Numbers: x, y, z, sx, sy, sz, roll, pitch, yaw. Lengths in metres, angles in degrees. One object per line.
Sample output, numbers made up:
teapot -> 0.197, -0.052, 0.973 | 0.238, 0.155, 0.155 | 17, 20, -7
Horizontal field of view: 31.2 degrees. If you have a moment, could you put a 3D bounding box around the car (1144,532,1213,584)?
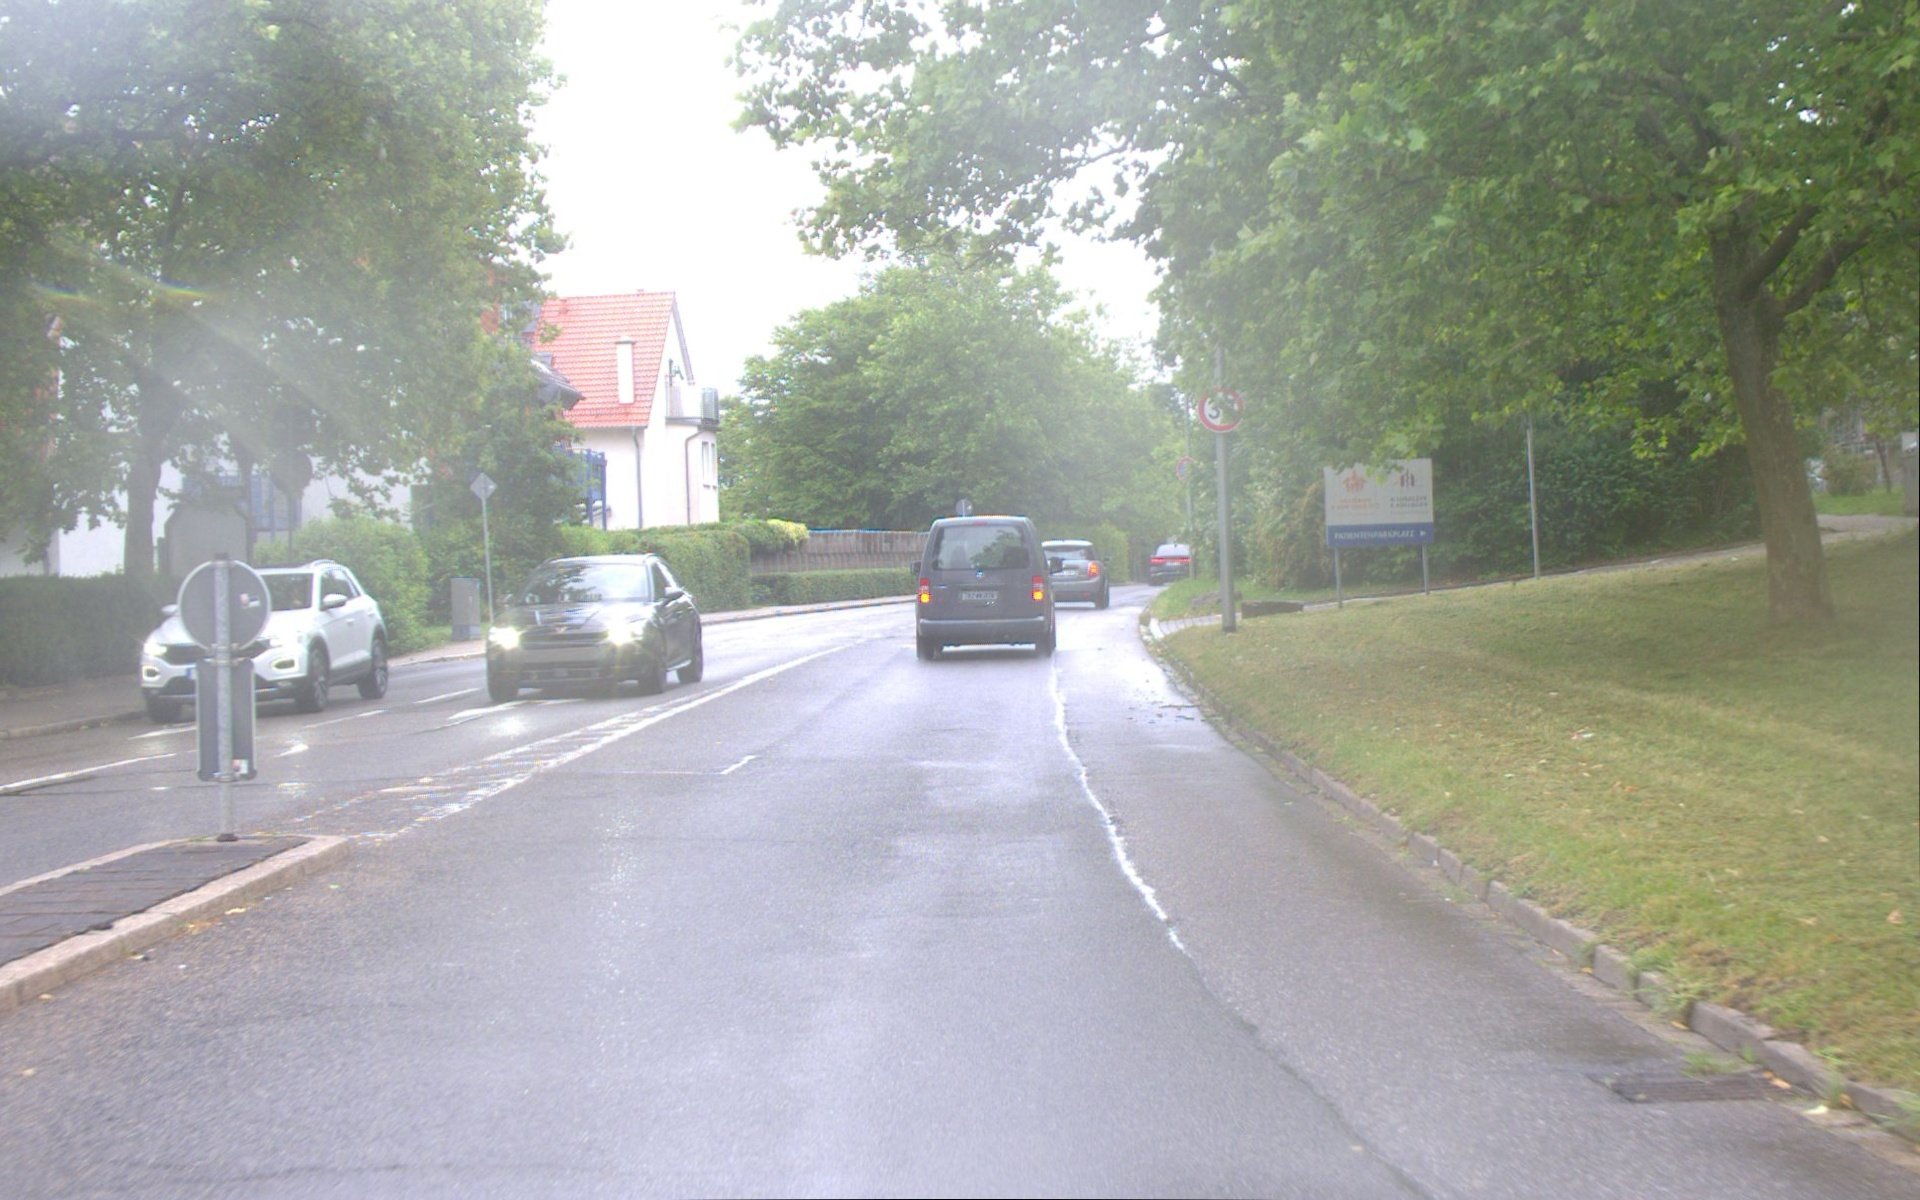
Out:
car -> 7.559, -1.452, 118.664 | 1.994, 1.744, 3.998 | 1, 1, 9

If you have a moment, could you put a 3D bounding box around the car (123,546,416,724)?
car -> -7.231, 0.321, 36.416 | 1.994, 1.678, 4.000 | -2, 1, 4

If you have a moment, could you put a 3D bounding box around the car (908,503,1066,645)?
car -> 0.398, -0.377, 45.292 | 1.993, 1.787, 4.000 | 0, 1, 2

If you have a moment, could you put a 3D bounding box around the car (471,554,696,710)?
car -> -3.903, 0.288, 36.284 | 1.993, 1.424, 4.388 | -2, 1, -2

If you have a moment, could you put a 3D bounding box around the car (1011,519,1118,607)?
car -> 2.248, -0.814, 73.174 | 1.950, 1.744, 3.999 | -2, 1, 6
